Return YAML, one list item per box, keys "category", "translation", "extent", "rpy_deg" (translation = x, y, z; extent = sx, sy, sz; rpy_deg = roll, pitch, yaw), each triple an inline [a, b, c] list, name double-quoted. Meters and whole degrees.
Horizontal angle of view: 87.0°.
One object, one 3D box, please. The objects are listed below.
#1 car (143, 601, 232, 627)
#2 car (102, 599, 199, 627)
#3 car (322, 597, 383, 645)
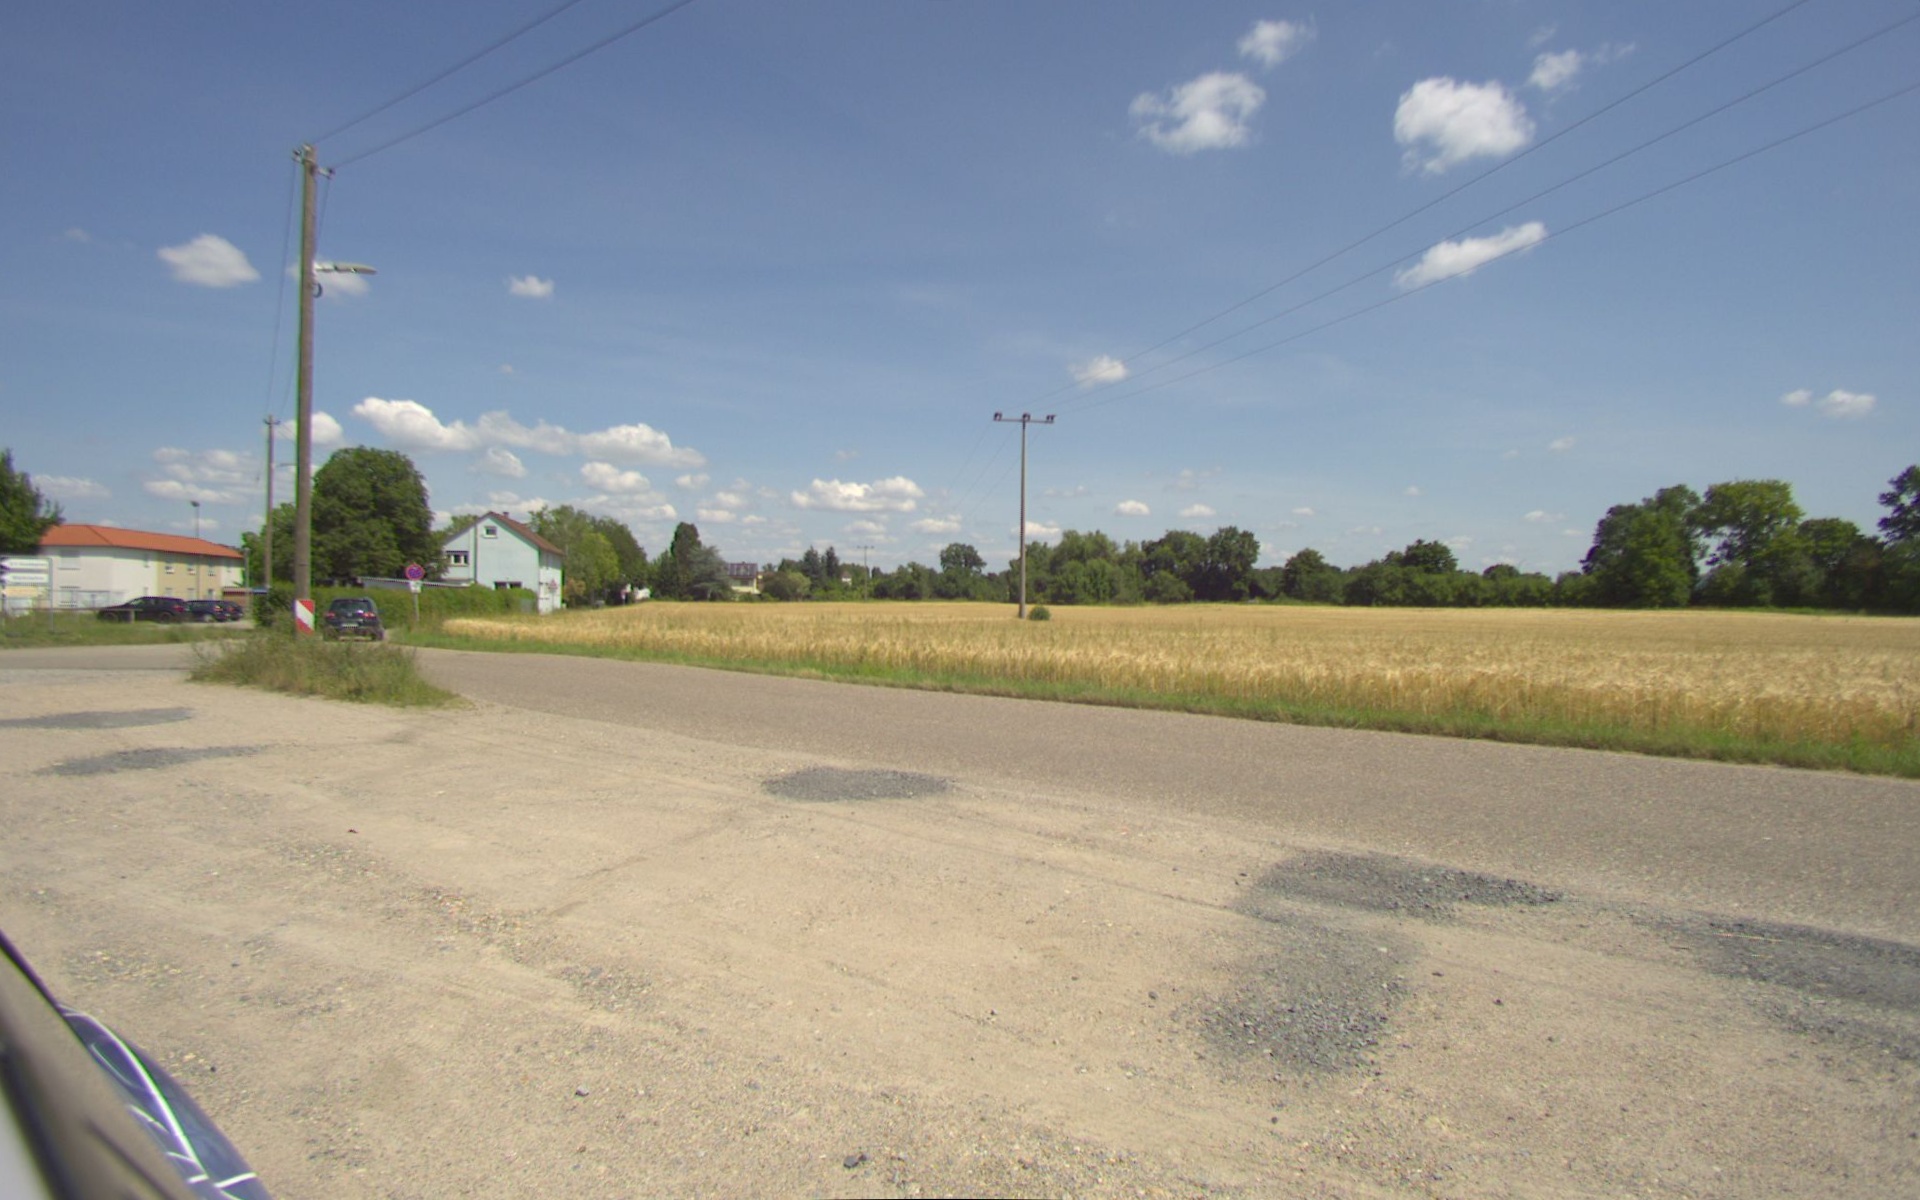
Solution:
- category: "car"
  translation: [-49.407, 0.879, 64.790]
  extent: [4.078, 1.627, 2.006]
  rpy_deg: [0, -1, -16]
- category: "car"
  translation: [-48.660, 0.789, 60.907]
  extent: [4.078, 1.627, 2.006]
  rpy_deg: [0, -1, -16]
- category: "car"
  translation: [-23.072, 0.754, 38.538]
  extent: [1.719, 1.691, 4.269]
  rpy_deg: [0, 1, -27]
